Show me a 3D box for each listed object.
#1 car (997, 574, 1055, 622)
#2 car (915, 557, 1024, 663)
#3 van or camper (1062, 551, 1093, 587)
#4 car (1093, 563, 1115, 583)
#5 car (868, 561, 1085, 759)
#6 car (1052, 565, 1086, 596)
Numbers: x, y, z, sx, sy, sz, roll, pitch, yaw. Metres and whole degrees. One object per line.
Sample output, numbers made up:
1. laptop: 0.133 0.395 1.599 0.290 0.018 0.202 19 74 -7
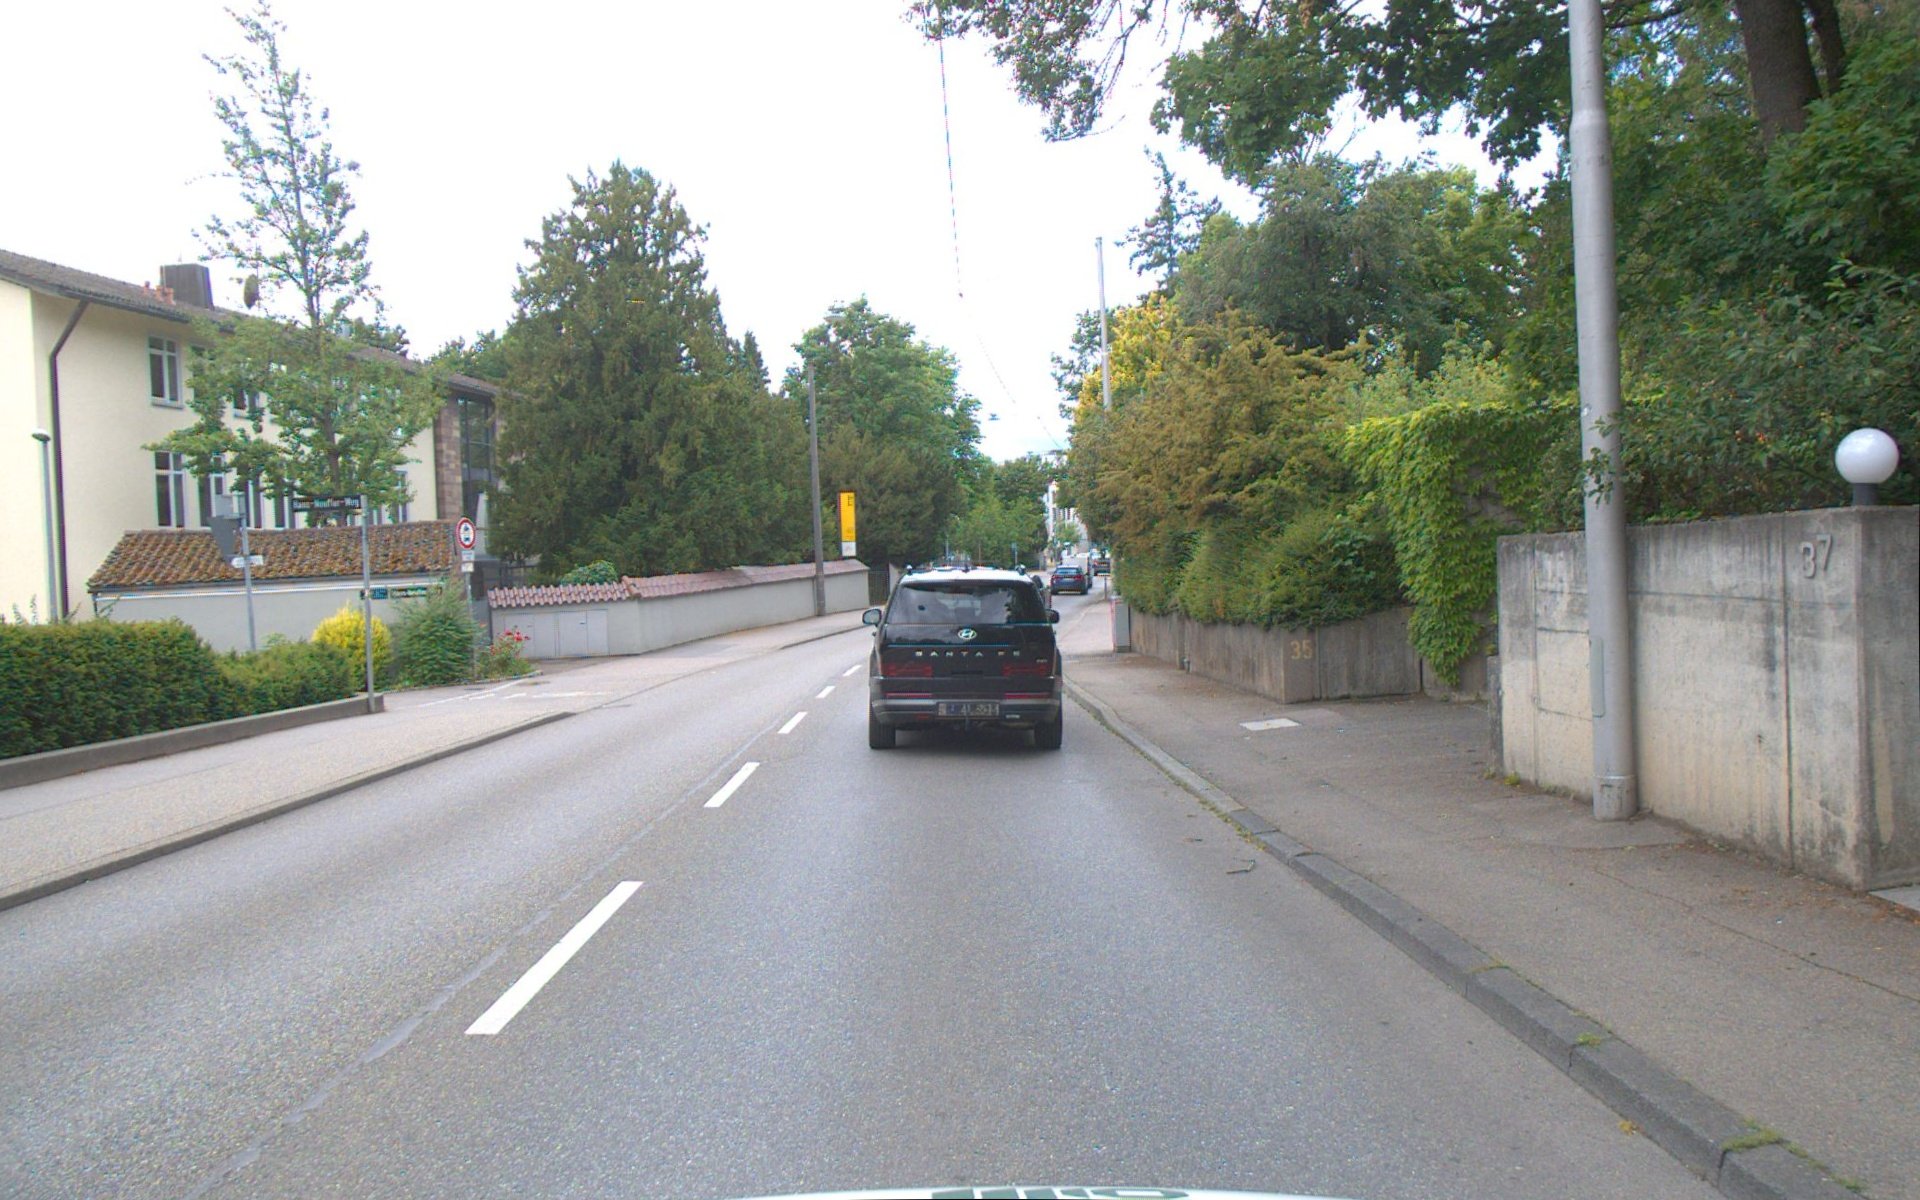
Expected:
1. car: 2.307 -0.106 56.813 1.640 1.447 3.941 -2 2 7
2. car: 0.271 0.136 33.993 1.916 1.989 4.226 1 2 4
3. van or camper: 7.188 -1.897 100.649 1.640 2.042 3.941 -2 2 7
4. car: 12.352 -2.312 141.803 1.640 1.568 3.941 -2 2 7
5. car: 0.116 0.523 16.909 1.917 1.743 4.222 1 0 -1
6. car: 5.719 -1.028 86.370 1.640 1.447 3.941 -2 2 5
